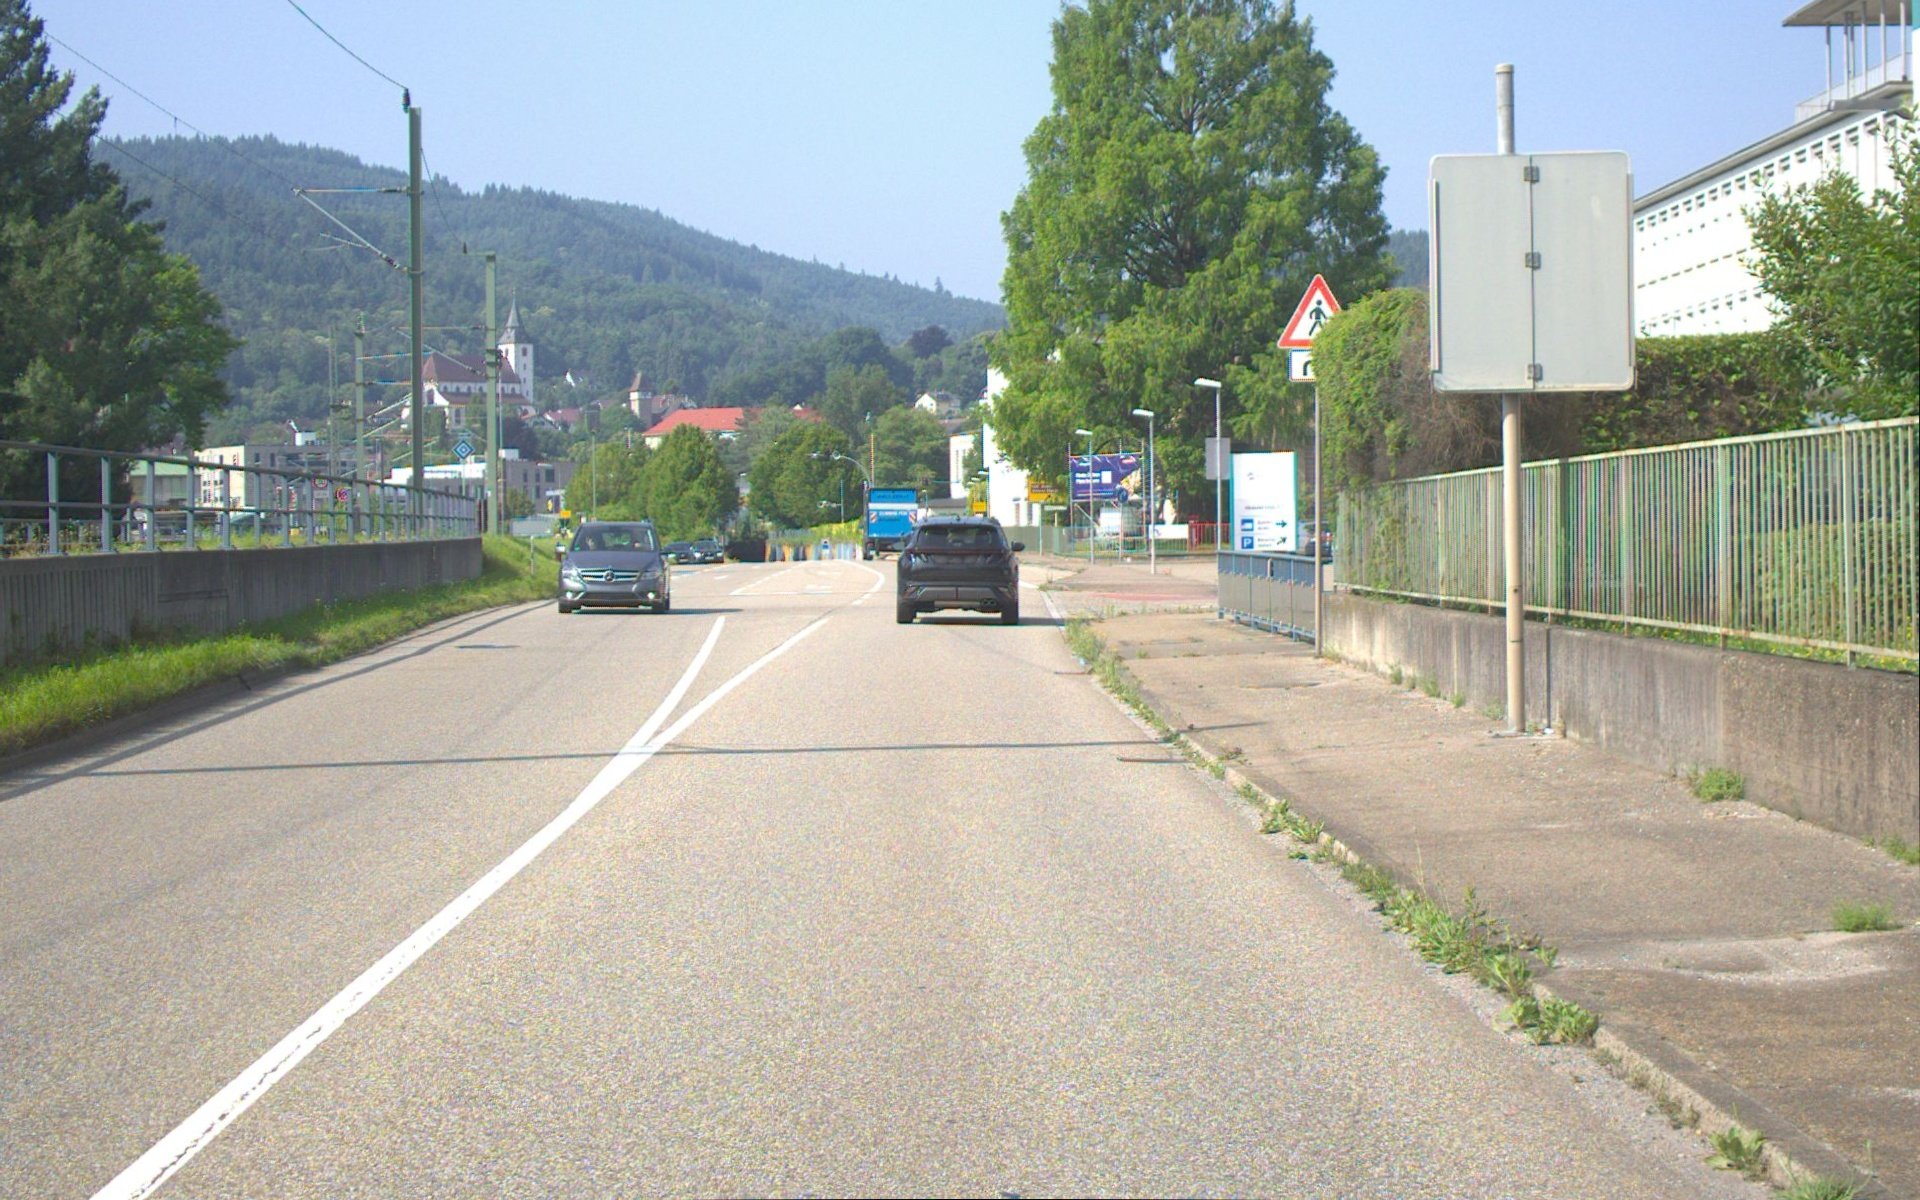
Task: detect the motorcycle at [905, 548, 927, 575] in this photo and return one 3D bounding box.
[{"bbox_3d":[-1.247,-1.079,97.068,0.606,0.751,1.415,-1,1,-1],"label":"motorcycle"}]

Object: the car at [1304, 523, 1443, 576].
[{"bbox_3d":[13.367,-1.637,111.187,4.159,1.666,1.870,-1,1,-30],"label":"car"}]

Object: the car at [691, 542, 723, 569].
[{"bbox_3d":[-14.191,-2.506,192.879,1.755,1.424,4.001,-1,1,-3],"label":"car"}]

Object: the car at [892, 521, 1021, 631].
[{"bbox_3d":[-0.032,-0.399,53.691,1.919,1.634,4.000,-1,1,1],"label":"car"}]

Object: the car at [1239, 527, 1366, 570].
[{"bbox_3d":[11.391,-1.724,114.343,3.987,1.396,1.664,-1,1,-31],"label":"car"}]

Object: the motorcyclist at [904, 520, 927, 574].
[{"bbox_3d":[-1.264,-1.493,97.075,0.606,1.515,0.863,-1,1,-1],"label":"motorcyclist"}]

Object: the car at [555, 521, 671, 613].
[{"bbox_3d":[-5.872,-0.580,58.536,1.741,1.502,4.200,0,1,-3],"label":"car"}]

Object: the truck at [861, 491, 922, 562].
[{"bbox_3d":[-2.949,-3.157,147.107,2.312,2.960,5.967,-1,1,-3],"label":"truck"}]
